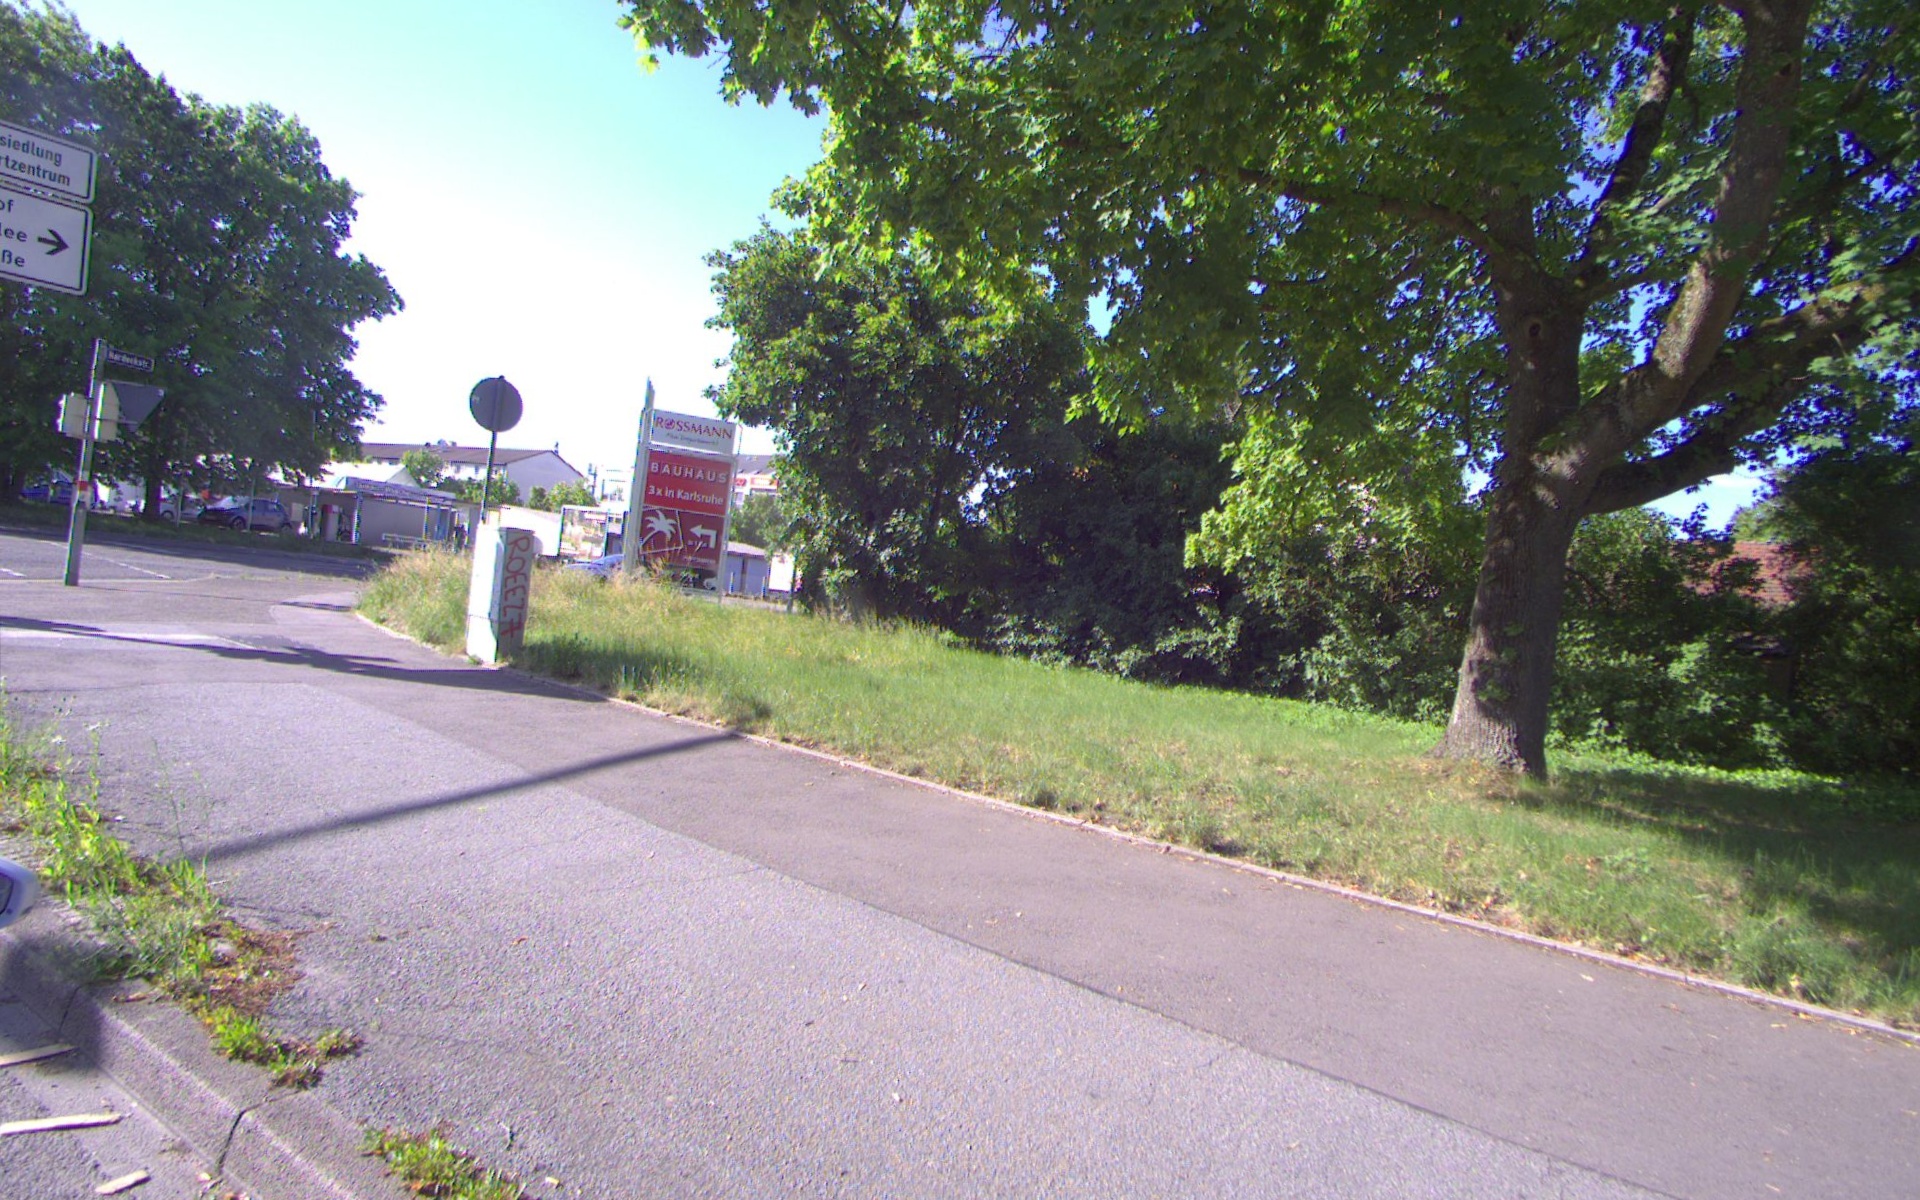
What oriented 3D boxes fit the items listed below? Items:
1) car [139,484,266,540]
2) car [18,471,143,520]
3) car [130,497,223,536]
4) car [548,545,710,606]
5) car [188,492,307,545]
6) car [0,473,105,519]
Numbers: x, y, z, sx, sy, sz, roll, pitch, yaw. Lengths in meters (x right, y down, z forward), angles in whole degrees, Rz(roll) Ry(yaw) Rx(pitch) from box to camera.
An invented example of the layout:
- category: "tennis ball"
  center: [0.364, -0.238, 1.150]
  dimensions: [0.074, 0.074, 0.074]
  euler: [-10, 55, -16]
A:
- category: "car"
  center: [-32.327, -3.719, 43.076]
  dimensions: [1.962, 1.772, 4.001]
  euler: [7, 0, 9]
- category: "car"
  center: [-39.177, -4.626, 44.930]
  dimensions: [1.712, 1.537, 3.902]
  euler: [7, 0, 9]
- category: "car"
  center: [-46.676, -4.955, 60.027]
  dimensions: [1.712, 1.701, 4.000]
  euler: [7, 0, 16]
- category: "car"
  center: [-11.514, -0.833, 35.280]
  dimensions: [1.973, 1.504, 4.994]
  euler: [7, 0, 43]
- category: "car"
  center: [-30.293, -3.426, 42.915]
  dimensions: [1.712, 1.701, 4.001]
  euler: [7, 0, 9]
- category: "car"
  center: [-41.987, -4.767, 46.154]
  dimensions: [1.712, 1.537, 3.902]
  euler: [7, 0, 9]
